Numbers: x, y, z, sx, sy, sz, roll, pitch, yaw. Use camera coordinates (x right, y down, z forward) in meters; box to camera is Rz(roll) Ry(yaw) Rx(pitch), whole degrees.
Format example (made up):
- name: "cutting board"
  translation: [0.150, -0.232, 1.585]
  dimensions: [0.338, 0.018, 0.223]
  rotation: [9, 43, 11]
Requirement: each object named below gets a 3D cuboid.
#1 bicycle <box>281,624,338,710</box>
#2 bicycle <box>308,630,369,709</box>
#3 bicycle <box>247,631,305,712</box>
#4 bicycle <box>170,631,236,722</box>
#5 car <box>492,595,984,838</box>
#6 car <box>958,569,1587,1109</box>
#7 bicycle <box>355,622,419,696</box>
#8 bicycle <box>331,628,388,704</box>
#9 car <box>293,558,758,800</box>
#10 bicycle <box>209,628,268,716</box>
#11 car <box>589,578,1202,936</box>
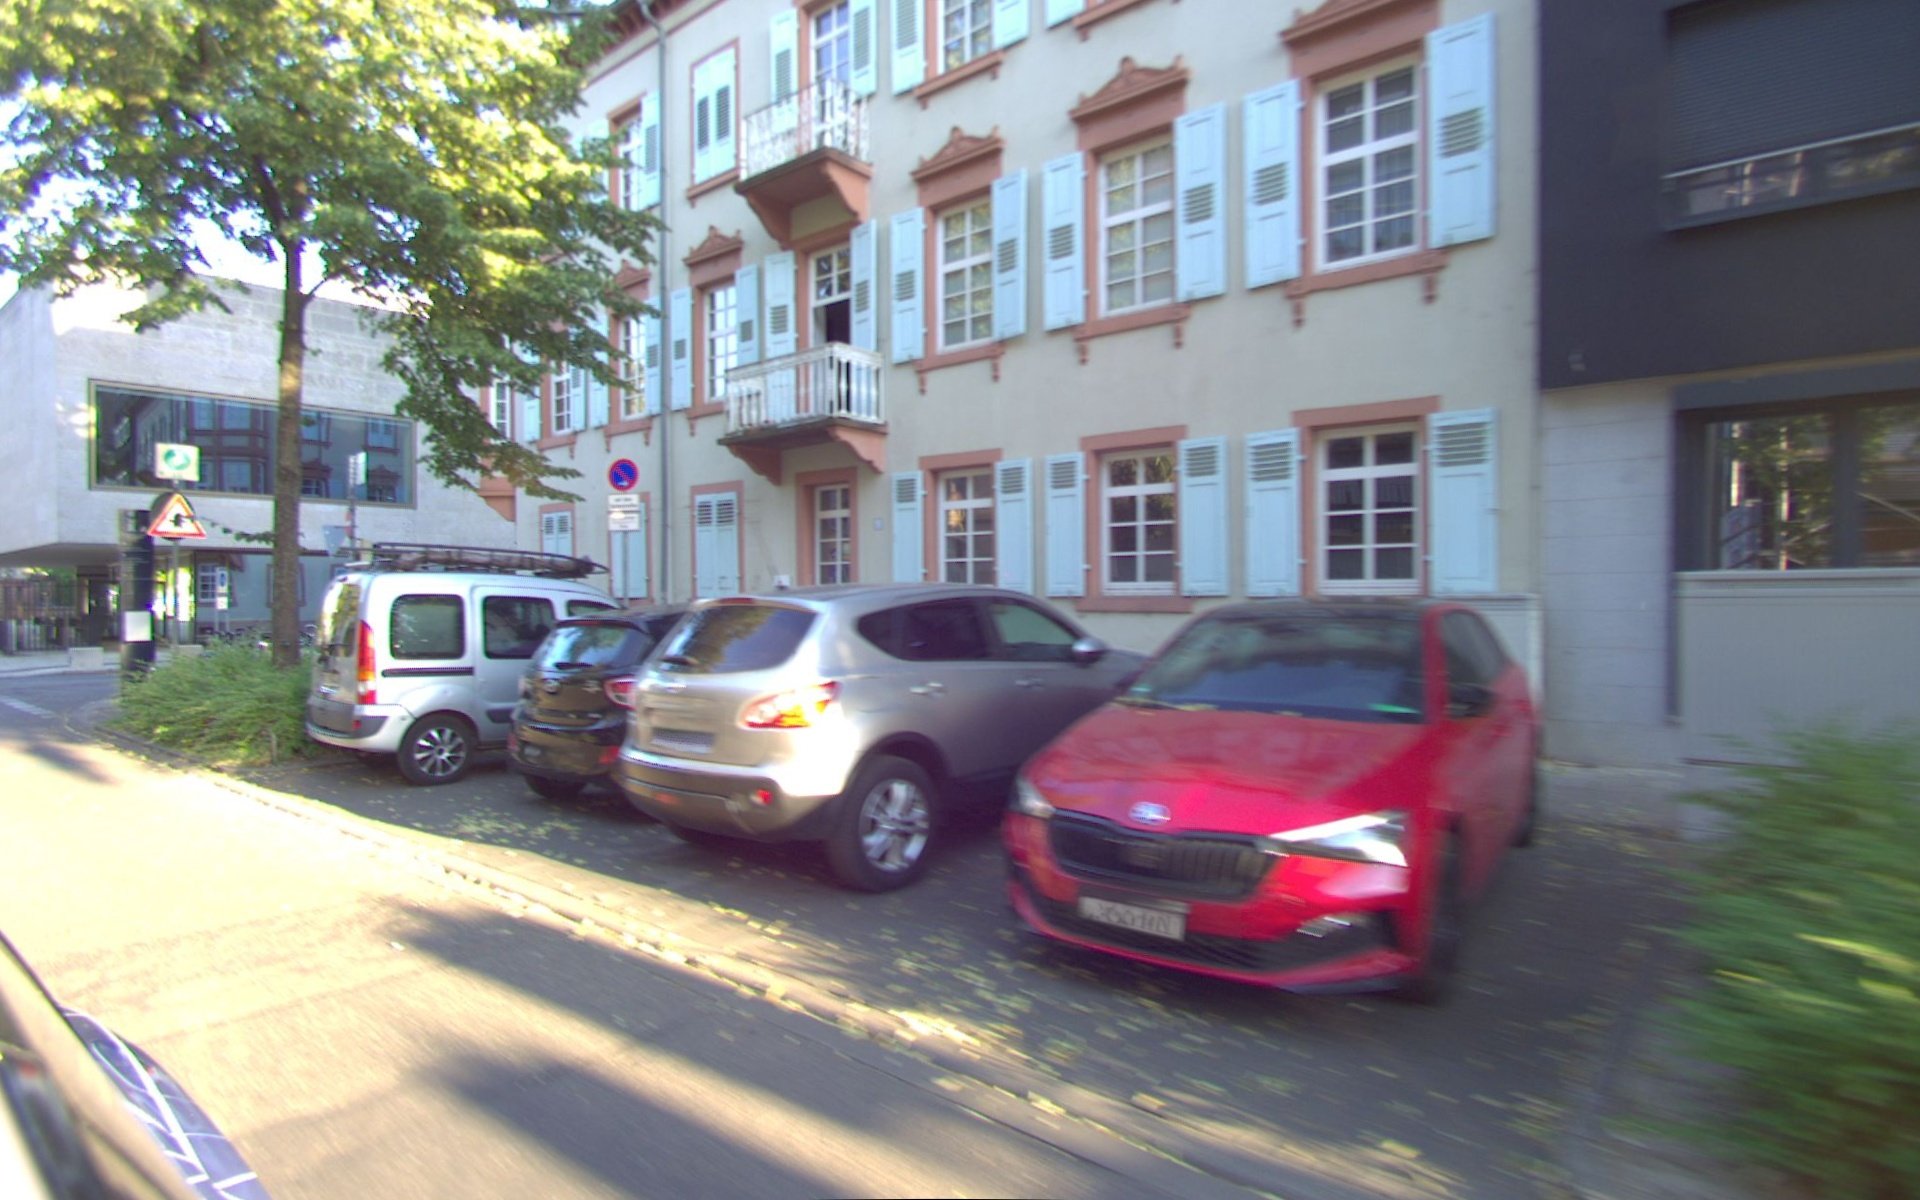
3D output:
- name: "bicycle"
  translation: [-9.590, 0.962, 14.895]
  dimensions: [1.612, 1.157, 0.308]
  rotation: [1, 0, 43]
- name: "bicycle"
  translation: [-9.268, 1.008, 15.075]
  dimensions: [1.596, 1.090, 0.337]
  rotation: [0, -1, 43]
- name: "bicycle"
  translation: [-9.925, 1.010, 14.662]
  dimensions: [1.596, 1.090, 0.315]
  rotation: [-1, 1, 43]
- name: "bicycle"
  translation: [-10.340, 1.008, 13.812]
  dimensions: [1.712, 1.116, 0.391]
  rotation: [0, 2, 43]
- name: "car"
  translation: [-1.640, 0.754, 8.241]
  dimensions: [1.650, 1.526, 3.608]
  rotation: [-1, -1, 45]
- name: "car"
  translation: [1.927, 0.694, 5.086]
  dimensions: [1.759, 1.528, 4.169]
  rotation: [0, -1, 36]
- name: "bicycle"
  translation: [-9.050, 0.903, 15.958]
  dimensions: [1.596, 1.090, 0.391]
  rotation: [-1, 1, 43]
- name: "bicycle"
  translation: [-9.300, 1.000, 15.659]
  dimensions: [1.596, 1.090, 0.319]
  rotation: [0, 0, 43]
- name: "car"
  translation: [-4.004, 0.624, 9.753]
  dimensions: [1.700, 1.863, 3.768]
  rotation: [0, -1, 43]
- name: "bicycle"
  translation: [-10.120, 0.978, 14.180]
  dimensions: [1.596, 1.149, 0.327]
  rotation: [-1, 1, 43]
- name: "car"
  translation: [-0.168, 0.667, 6.492]
  dimensions: [1.741, 1.597, 3.784]
  rotation: [0, 1, 42]
